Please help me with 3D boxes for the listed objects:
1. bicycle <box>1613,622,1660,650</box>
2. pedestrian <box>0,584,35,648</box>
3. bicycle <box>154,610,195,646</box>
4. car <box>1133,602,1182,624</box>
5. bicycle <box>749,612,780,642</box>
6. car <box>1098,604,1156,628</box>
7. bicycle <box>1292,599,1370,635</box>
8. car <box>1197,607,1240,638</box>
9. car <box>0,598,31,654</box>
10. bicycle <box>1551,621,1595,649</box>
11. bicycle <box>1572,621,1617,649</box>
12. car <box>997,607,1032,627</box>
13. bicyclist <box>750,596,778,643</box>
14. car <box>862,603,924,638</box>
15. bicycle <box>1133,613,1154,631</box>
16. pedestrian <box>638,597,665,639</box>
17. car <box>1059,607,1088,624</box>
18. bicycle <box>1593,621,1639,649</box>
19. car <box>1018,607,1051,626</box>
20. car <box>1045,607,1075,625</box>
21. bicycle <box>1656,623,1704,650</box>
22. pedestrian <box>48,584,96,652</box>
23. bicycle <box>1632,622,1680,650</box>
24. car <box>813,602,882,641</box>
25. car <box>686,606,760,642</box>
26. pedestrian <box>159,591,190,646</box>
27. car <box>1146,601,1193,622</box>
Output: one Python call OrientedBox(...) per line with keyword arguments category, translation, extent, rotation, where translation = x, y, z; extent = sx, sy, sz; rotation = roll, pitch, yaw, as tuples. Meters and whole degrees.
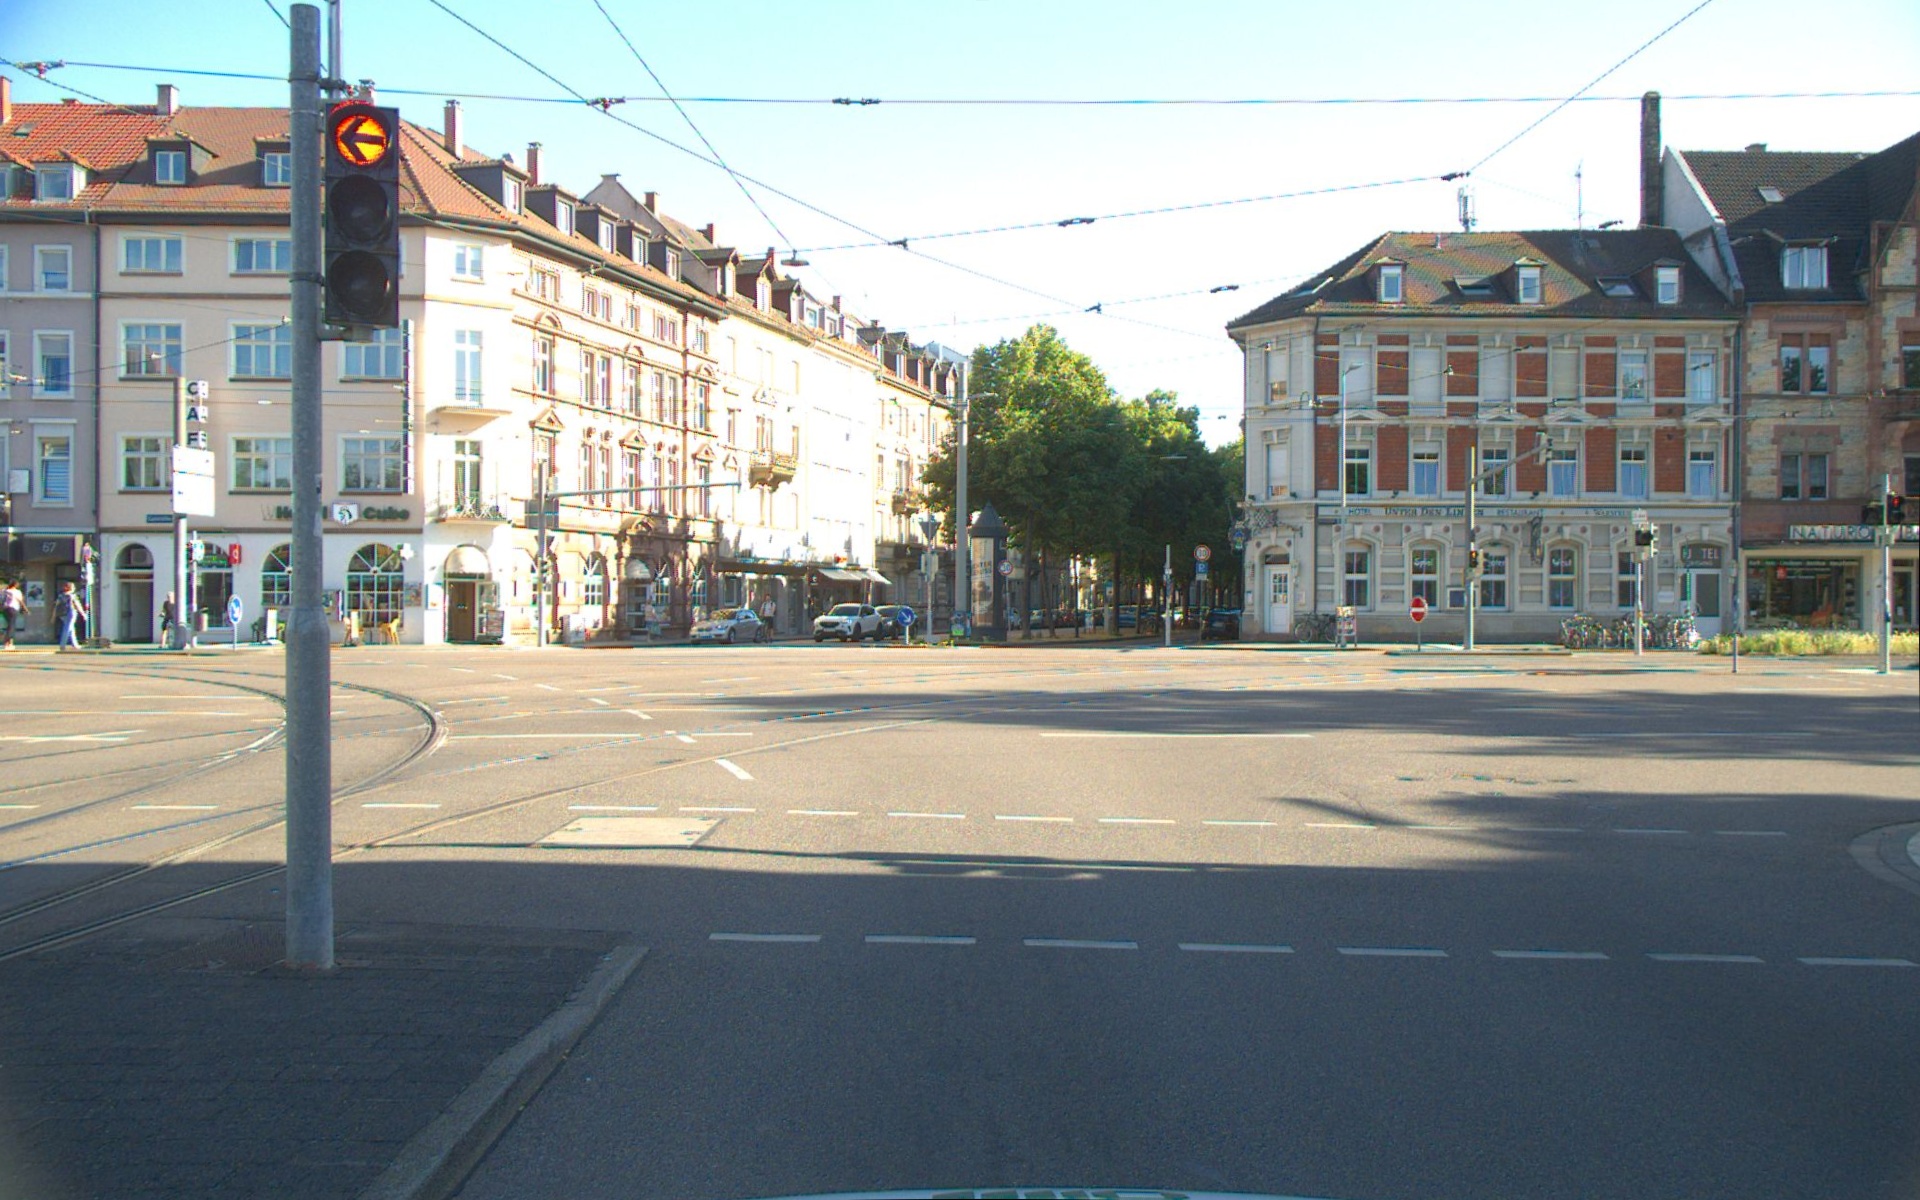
OrientedBox(category="bicycle", translation=(21.864, 1.148, 53.487), extent=(0.645, 0.855, 2.160), rotation=(1, 0, 1))
OrientedBox(category="pedestrian", translation=(-24.069, 0.399, 41.928), extent=(0.710, 1.605, 0.834), rotation=(1, -1, 9))
OrientedBox(category="bicycle", translation=(-24.653, 0.879, 51.909), extent=(0.561, 1.096, 1.497), rotation=(1, 0, -1))
OrientedBox(category="car", translation=(15.327, 0.966, 128.233), extent=(3.503, 1.677, 1.684), rotation=(0, 0, 16))
OrientedBox(category="bicycle", translation=(-7.679, 1.050, 65.115), extent=(0.687, 1.137, 1.636), rotation=(1, 0, 13))
OrientedBox(category="car", translation=(11.721, 1.121, 115.821), extent=(3.819, 1.677, 1.684), rotation=(0, 0, 16))
OrientedBox(category="bicycle", translation=(12.868, 0.592, 57.444), extent=(2.504, 1.194, 0.818), rotation=(1, -1, -4))
OrientedBox(category="car", translation=(12.962, 1.110, 82.735), extent=(1.642, 1.509, 3.950), rotation=(0, 0, 16))
OrientedBox(category="car", translation=(-32.151, 0.791, 52.247), extent=(4.276, 1.741, 2.306), rotation=(1, 0, 1))
OrientedBox(category="bicycle", translation=(19.762, 1.112, 53.353), extent=(0.645, 0.855, 2.160), rotation=(1, 0, 1))
OrientedBox(category="bicycle", translation=(20.481, 1.124, 53.440), extent=(0.645, 0.855, 2.160), rotation=(1, 0, 1))
OrientedBox(category="car", translation=(3.828, 1.163, 115.502), extent=(1.642, 1.378, 3.593), rotation=(0, 0, 16))
OrientedBox(category="bicyclist", translation=(-7.712, 0.769, 64.992), extent=(0.761, 1.834, 1.056), rotation=(1, -1, 13))
OrientedBox(category="car", translation=(-2.946, 0.891, 73.539), extent=(1.642, 1.509, 3.950), rotation=(0, 0, 16))
OrientedBox(category="bicycle", translation=(11.057, 1.301, 99.613), extent=(0.625, 1.039, 1.840), rotation=(1, 0, -14))
OrientedBox(category="pedestrian", translation=(-12.599, 0.723, 67.516), extent=(0.759, 1.699, 0.831), rotation=(1, -1, 15))
OrientedBox(category="car", translation=(9.325, 1.257, 135.882), extent=(1.642, 1.378, 3.593), rotation=(0, 0, 16))
OrientedBox(category="bicycle", translation=(21.193, 1.136, 53.454), extent=(0.645, 0.855, 2.160), rotation=(1, 0, 1))
OrientedBox(category="car", translation=(5.540, 1.214, 122.489), extent=(1.642, 1.378, 3.593), rotation=(0, 0, 16))
OrientedBox(category="car", translation=(7.900, 1.220, 130.831), extent=(1.642, 1.378, 3.593), rotation=(0, 0, 16))
OrientedBox(category="bicycle", translation=(23.280, 1.172, 53.513), extent=(0.645, 0.855, 2.160), rotation=(1, 0, 1))
OrientedBox(category="pedestrian", translation=(-21.400, 0.436, 39.856), extent=(0.539, 1.605, 0.832), rotation=(1, -1, 27))
OrientedBox(category="bicycle", translation=(22.492, 1.159, 53.467), extent=(0.645, 0.855, 2.160), rotation=(1, 0, 1))
OrientedBox(category="car", translation=(-4.533, 0.846, 67.215), extent=(1.642, 1.509, 3.774), rotation=(0, 0, 16))
OrientedBox(category="car", translation=(-9.538, 0.936, 66.733), extent=(1.642, 1.378, 3.593), rotation=(0, 0, 16))
OrientedBox(category="pedestrian", translation=(-24.650, 0.580, 51.924), extent=(0.570, 1.699, 0.752), rotation=(1, -1, -1))
OrientedBox(category="car", translation=(16.950, 0.891, 133.732), extent=(3.503, 1.677, 1.684), rotation=(0, 0, 16))
